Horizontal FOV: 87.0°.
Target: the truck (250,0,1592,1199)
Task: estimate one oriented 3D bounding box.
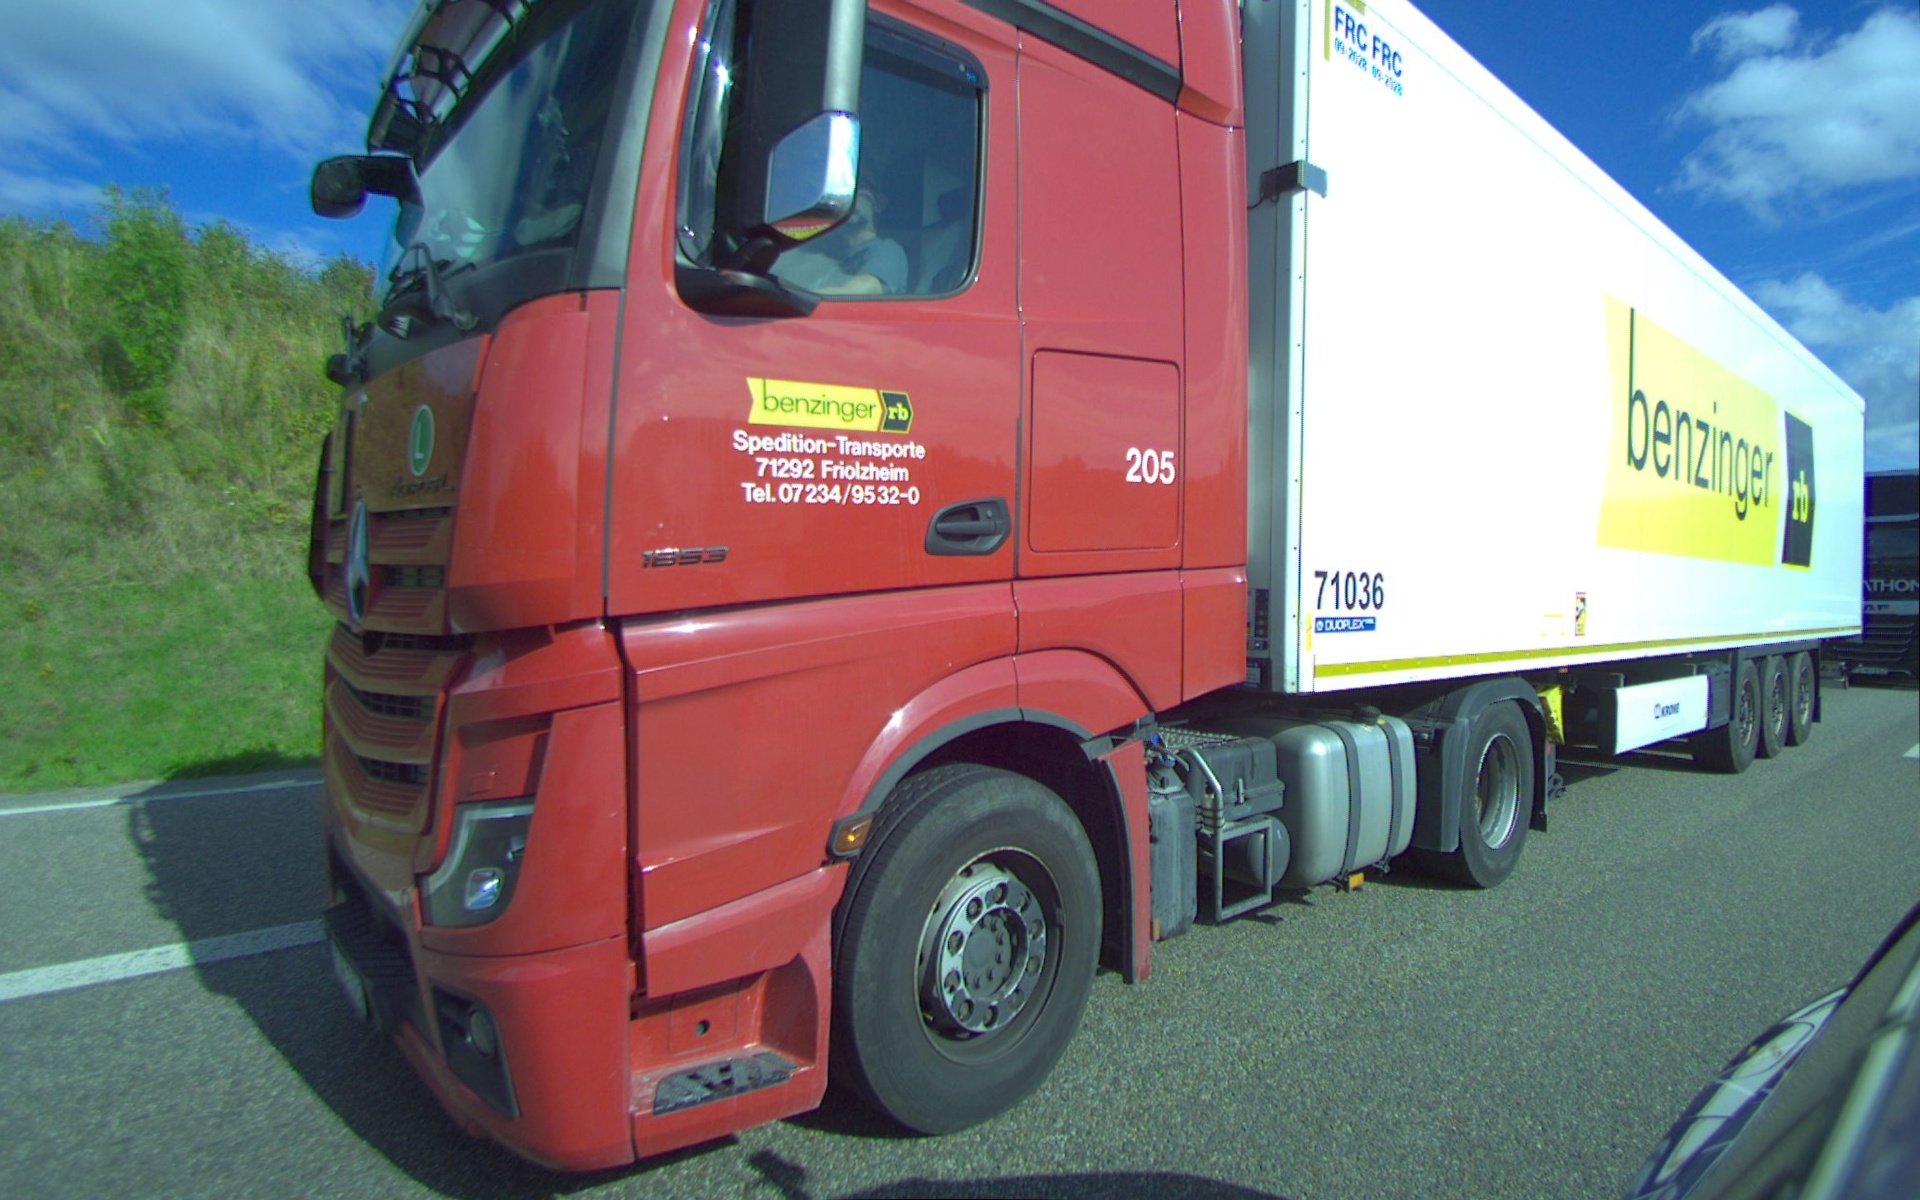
[{"bbox_3d":[0.350,-0.547,4.680,5.724,3.989,2.806,0,0,-41],"label":"truck"}]

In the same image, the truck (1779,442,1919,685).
[{"bbox_3d":[19.628,-0.652,20.724,10.025,4.089,2.745,0,1,-41],"label":"truck"}]

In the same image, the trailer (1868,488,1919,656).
[{"bbox_3d":[26.479,-0.643,26.752,8.559,4.011,2.720,0,0,-41],"label":"trailer"}]

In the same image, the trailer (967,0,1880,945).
[{"bbox_3d":[5.777,-0.622,9.488,12.843,3.989,2.796,-1,0,-41],"label":"trailer"}]
